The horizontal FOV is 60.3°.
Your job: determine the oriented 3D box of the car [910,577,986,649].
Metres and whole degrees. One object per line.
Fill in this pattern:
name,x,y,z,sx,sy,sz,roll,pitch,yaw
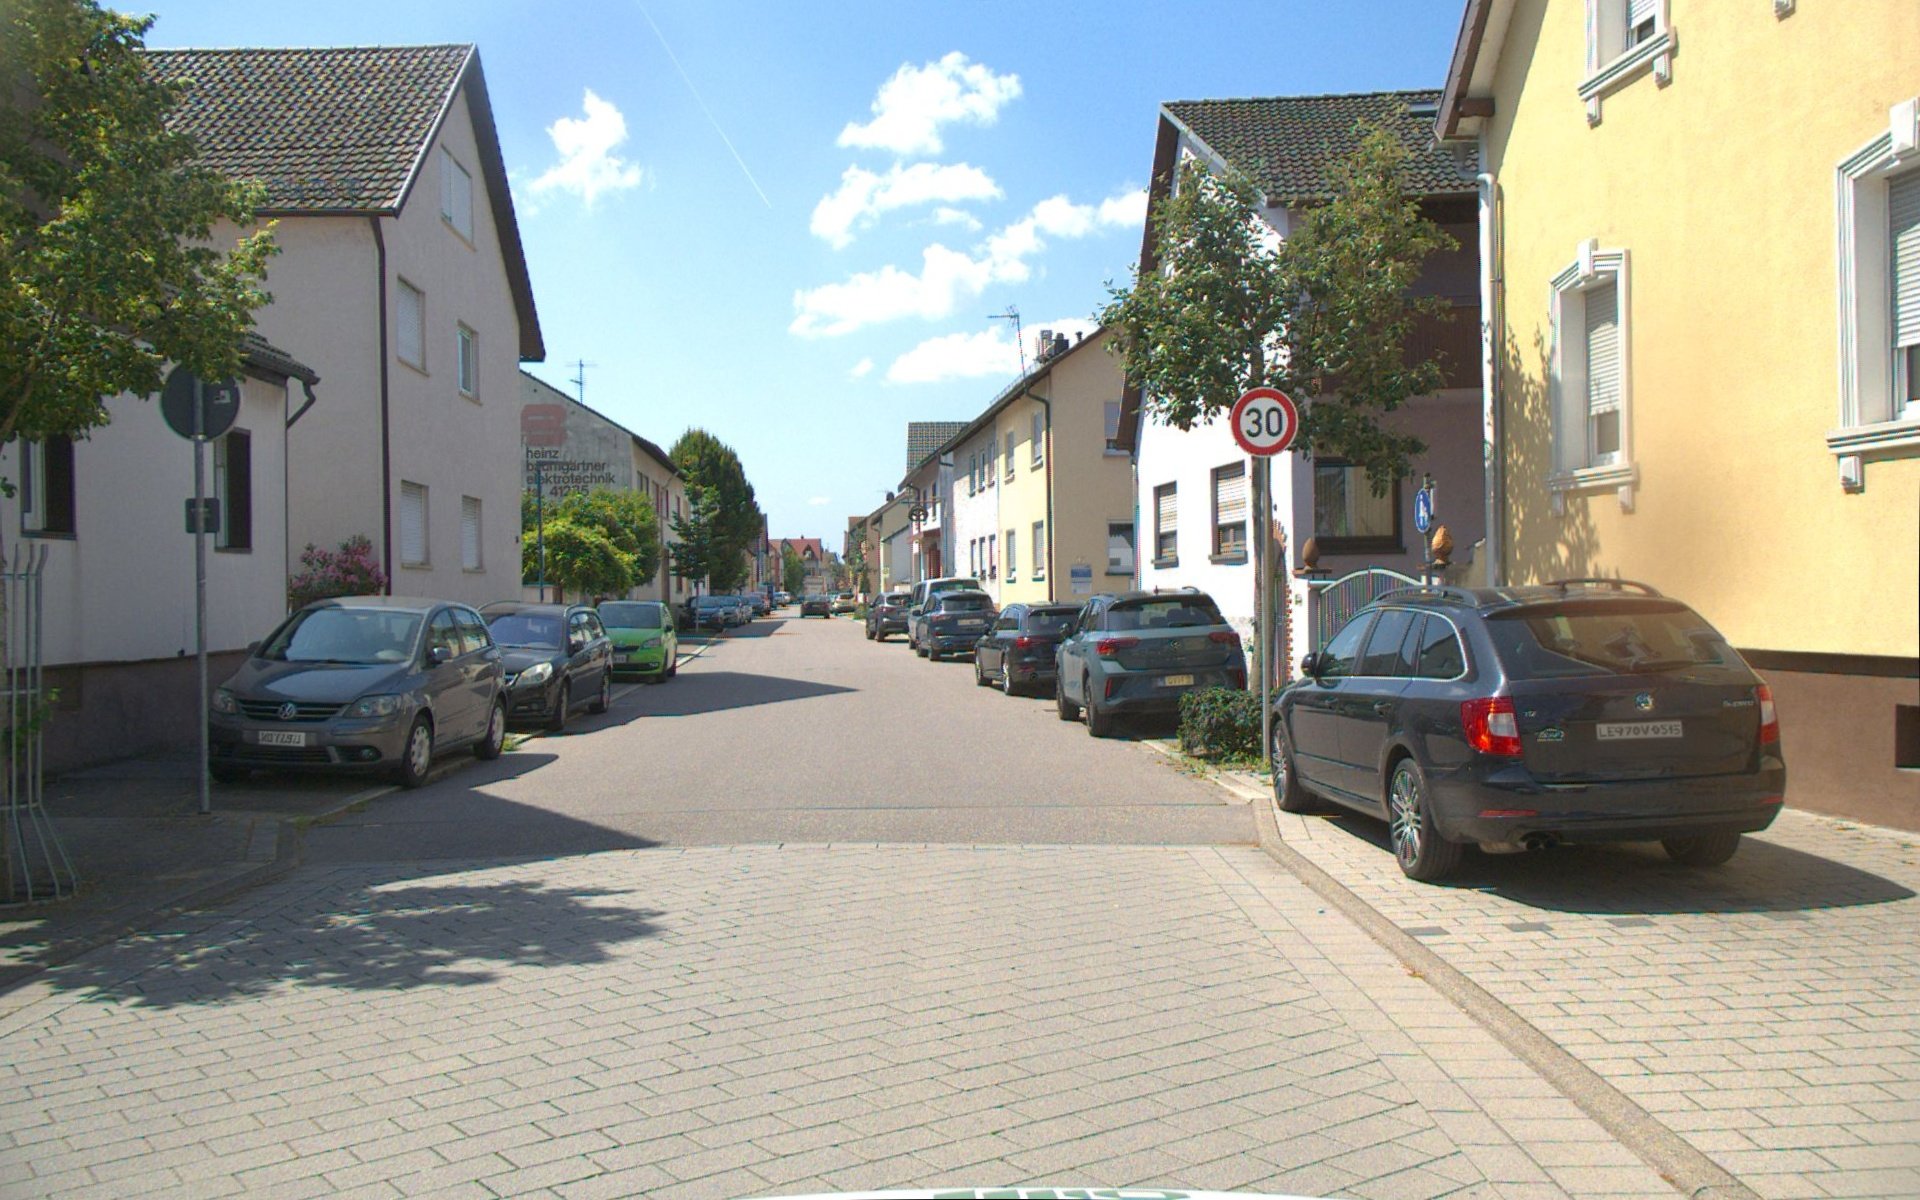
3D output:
car,-0.374,0.331,46.267,1.869,1.904,3.997,-1,0,-4

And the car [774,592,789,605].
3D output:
car,-24.259,-0.231,224.795,1.883,1.696,3.997,-1,0,-4

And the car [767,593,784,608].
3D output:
car,-22.279,0.056,199.546,1.811,1.737,3.716,-1,0,-4

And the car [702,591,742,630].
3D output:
car,-11.436,0.489,79.592,1.650,1.789,3.612,-1,0,-4

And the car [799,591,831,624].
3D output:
car,-9.357,0.468,106.963,1.954,2.094,4.370,-1,0,-4

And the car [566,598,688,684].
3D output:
car,-6.274,0.731,31.523,1.757,1.501,3.867,-1,0,-4

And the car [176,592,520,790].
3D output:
car,-5.417,0.721,15.209,1.711,1.557,3.999,1,0,-1

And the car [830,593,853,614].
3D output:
car,-8.669,0.225,121.468,1.654,1.478,3.790,-1,0,-4

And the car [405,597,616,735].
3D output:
car,-5.645,0.764,21.264,1.716,1.559,4.257,1,0,-3

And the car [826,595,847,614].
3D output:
car,-10.065,0.339,135.011,1.654,1.478,3.790,-1,0,-4

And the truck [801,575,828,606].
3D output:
truck,-19.655,-1.274,223.208,3.496,4.023,8.569,-1,0,-6

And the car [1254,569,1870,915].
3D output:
car,3.159,0.657,9.736,1.793,1.497,4.273,-3,0,-4

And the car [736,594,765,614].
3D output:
car,-15.443,0.277,121.961,1.879,1.467,3.997,-1,0,-4

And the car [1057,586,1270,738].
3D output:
car,2.265,0.646,19.360,1.810,1.590,3.691,-1,0,-4

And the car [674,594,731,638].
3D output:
car,-10.428,0.630,67.137,1.954,1.691,3.997,-1,0,-4

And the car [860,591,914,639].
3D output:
car,-2.465,0.479,55.241,1.719,1.519,3.997,-1,0,-4

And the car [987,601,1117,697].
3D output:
car,1.433,0.744,27.059,1.677,1.411,3.703,-1,0,-4

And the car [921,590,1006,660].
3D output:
car,0.034,0.584,40.802,1.840,1.619,3.997,-1,0,-4
